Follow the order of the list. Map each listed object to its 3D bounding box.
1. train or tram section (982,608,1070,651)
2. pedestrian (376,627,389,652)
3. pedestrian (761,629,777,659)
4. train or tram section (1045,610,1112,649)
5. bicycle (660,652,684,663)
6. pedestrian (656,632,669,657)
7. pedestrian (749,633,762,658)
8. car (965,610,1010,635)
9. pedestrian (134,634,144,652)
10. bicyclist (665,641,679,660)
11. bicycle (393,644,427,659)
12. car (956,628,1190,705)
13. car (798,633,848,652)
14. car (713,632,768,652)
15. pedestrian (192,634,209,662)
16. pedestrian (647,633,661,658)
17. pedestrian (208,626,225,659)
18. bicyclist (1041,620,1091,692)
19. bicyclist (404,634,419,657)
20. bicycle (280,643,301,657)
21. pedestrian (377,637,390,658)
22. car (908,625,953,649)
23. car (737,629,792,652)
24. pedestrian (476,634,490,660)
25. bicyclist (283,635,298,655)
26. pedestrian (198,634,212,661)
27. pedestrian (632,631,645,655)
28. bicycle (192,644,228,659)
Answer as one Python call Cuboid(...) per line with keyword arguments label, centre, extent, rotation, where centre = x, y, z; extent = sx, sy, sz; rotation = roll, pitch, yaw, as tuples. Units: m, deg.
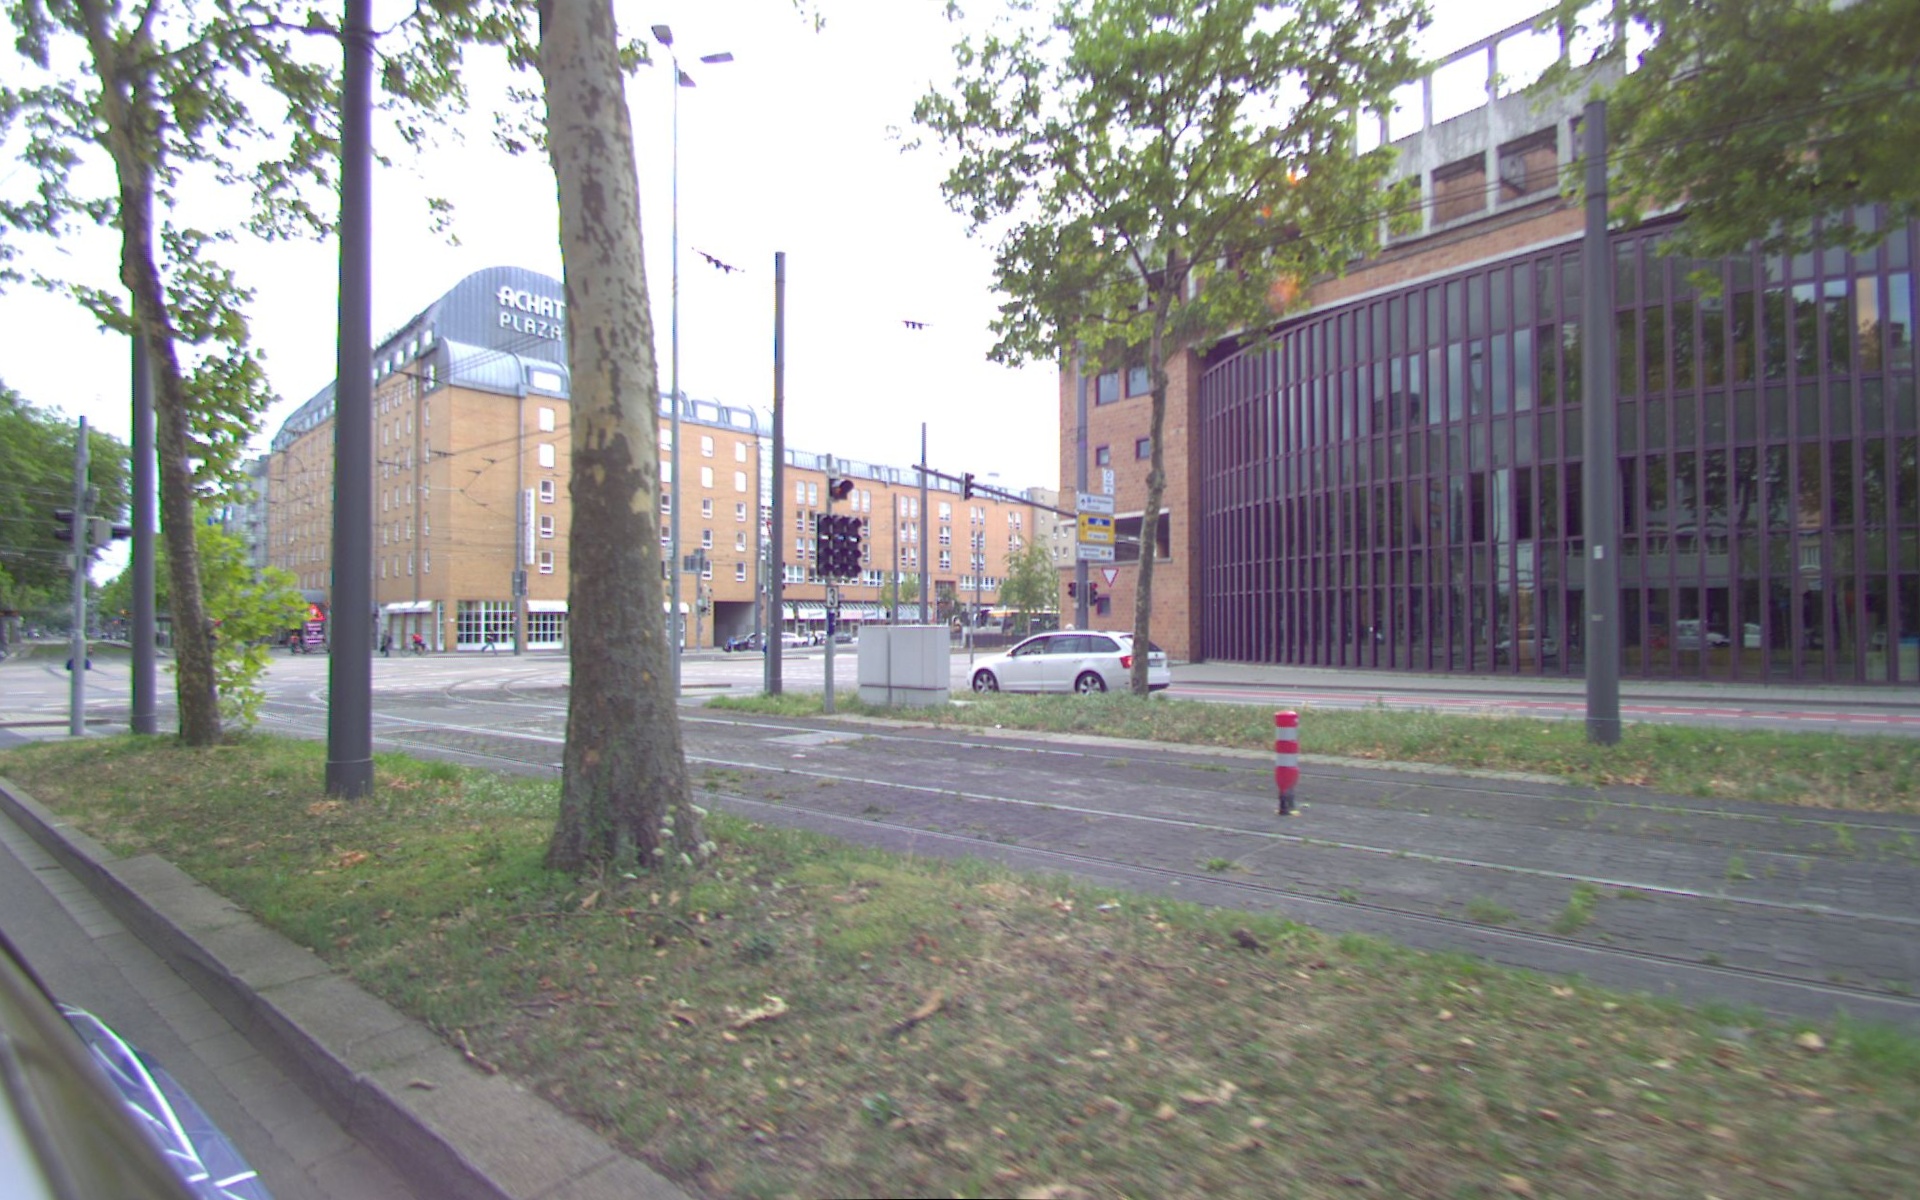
Cuboid(label="train or tram section", centre=(5.760, 2.558, 86.971), extent=(2.574, 3.477, 9.482), rotation=(-2, -3, 39))
Cuboid(label="pedestrian", centre=(-39.469, 2.676, 69.157), extent=(0.534, 1.719, 0.556), rotation=(-1, -2, 41))
Cuboid(label="pedestrian", centre=(-11.447, 2.630, 60.644), extent=(0.750, 1.745, 0.571), rotation=(-1, -2, 39))
Cuboid(label="train or tram section", centre=(11.040, 2.762, 93.561), extent=(2.574, 3.477, 7.522), rotation=(-2, -3, 39))
Cuboid(label="bicycle", centre=(-22.186, 4.400, 78.011), extent=(0.639, 0.787, 1.774), rotation=(-1, -2, 38))
Cuboid(label="pedestrian", centre=(-21.099, 3.138, 71.748), extent=(0.749, 1.745, 0.572), rotation=(-1, -2, 34))
Cuboid(label="pedestrian", centre=(-14.130, 3.147, 69.877), extent=(0.576, 1.745, 0.625), rotation=(-1, -2, 30))
Cuboid(label="car", centre=(2.644, 2.174, 97.190), extent=(1.700, 2.337, 5.019), rotation=(-2, -3, 38))
Cuboid(label="pedestrian", centre=(-80.155, 4.173, 98.825), extent=(0.639, 1.719, 0.625), rotation=(2, -3, -44))
Cuboid(label="bicyclist", centre=(-22.184, 3.886, 78.014), extent=(0.636, 1.513, 0.854), rotation=(-1, -2, 39))
Cuboid(label="bicycle", centre=(-37.593, 3.522, 69.185), extent=(2.025, 1.016, 0.642), rotation=(1, -2, -32))
Cuboid(label="car", centre=(2.246, 1.326, 21.032), extent=(4.654, 1.432, 1.765), rotation=(-2, -3, 40))
Cuboid(label="car", centre=(-11.170, 3.462, 82.689), extent=(1.700, 1.453, 3.949), rotation=(-1, -2, 38))
Cuboid(label="car", centre=(-17.100, 3.277, 79.002), extent=(1.798, 1.490, 3.948), rotation=(-2, -3, 38))
Cuboid(label="pedestrian", centre=(-47.539, 2.985, 63.351), extent=(0.533, 1.719, 0.677), rotation=(-1, -2, 33))
Cuboid(label="pedestrian", centre=(-21.514, 3.166, 71.244), extent=(0.749, 1.745, 0.572), rotation=(-1, -2, 34))
Cuboid(label="pedestrian", centre=(-45.647, 2.602, 62.103), extent=(0.534, 1.967, 0.684), rotation=(-1, -2, 39))
Cuboid(label="bicyclist", centre=(2.476, 1.298, 23.585), extent=(0.901, 1.622, 0.715), rotation=(-2, -3, 40))
Cuboid(label="bicyclist", centre=(-37.529, 3.101, 69.234), extent=(0.851, 1.513, 0.638), rotation=(1, -2, -32))
Cuboid(label="bicycle", centre=(-49.197, 3.682, 74.334), extent=(1.890, 0.943, 0.651), rotation=(-1, -2, 37))
Cuboid(label="pedestrian", centre=(-41.800, 3.421, 73.380), extent=(0.642, 1.518, 0.534), rotation=(0, -2, 7))
Cuboid(label="car", centre=(-2.784, 3.503, 97.477), extent=(1.700, 2.247, 4.774), rotation=(-1, -2, 38))
Cuboid(label="car", centre=(-14.990, 3.063, 77.723), extent=(1.798, 1.697, 3.948), rotation=(-1, -2, 38))
Cuboid(label="pedestrian", centre=(-33.128, 3.262, 70.245), extent=(0.740, 1.745, 0.579), rotation=(1, -3, -44))
Cuboid(label="bicyclist", centre=(-49.208, 3.300, 74.351), extent=(0.816, 1.513, 0.643), rotation=(-1, -2, 37))
Cuboid(label="pedestrian", centre=(-48.362, 3.015, 64.843), extent=(0.533, 1.719, 0.557), rotation=(-1, -2, 33))
Cuboid(label="pedestrian", centre=(-23.411, 3.128, 73.700), extent=(0.749, 1.745, 0.572), rotation=(-2, -2, 34))
Cuboid(label="bicycle", centre=(-46.051, 3.167, 62.172), extent=(0.499, 0.895, 1.688), rotation=(-1, -2, 44))
